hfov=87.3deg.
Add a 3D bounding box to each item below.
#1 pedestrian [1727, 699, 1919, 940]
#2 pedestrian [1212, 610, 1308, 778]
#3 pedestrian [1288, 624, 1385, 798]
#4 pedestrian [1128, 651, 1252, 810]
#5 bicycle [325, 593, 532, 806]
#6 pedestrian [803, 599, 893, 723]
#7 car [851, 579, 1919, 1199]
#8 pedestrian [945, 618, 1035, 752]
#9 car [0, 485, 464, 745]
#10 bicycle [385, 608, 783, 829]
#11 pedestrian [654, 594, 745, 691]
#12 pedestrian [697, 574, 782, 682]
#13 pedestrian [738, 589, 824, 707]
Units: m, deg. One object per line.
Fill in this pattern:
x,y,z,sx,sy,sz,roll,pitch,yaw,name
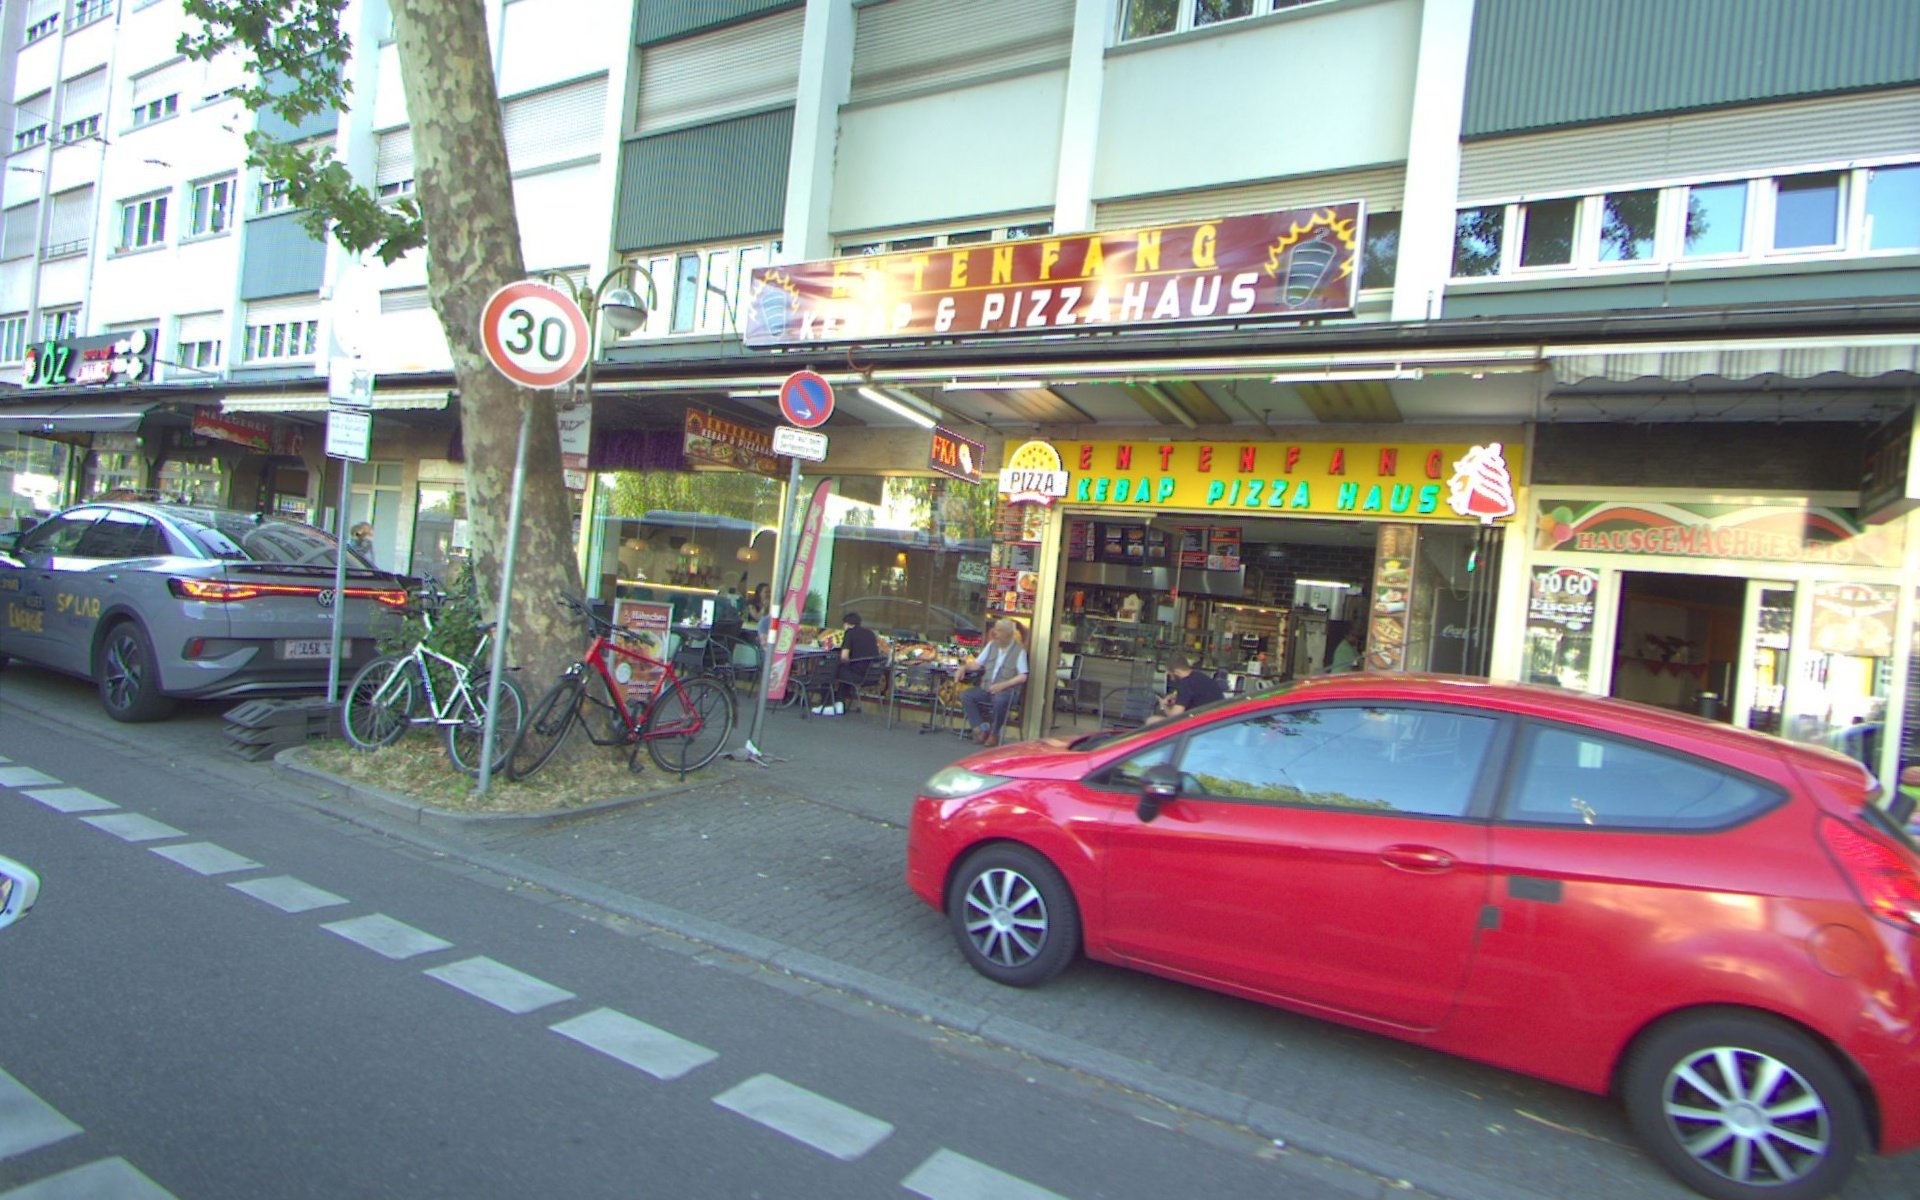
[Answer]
5.900,1.409,6.760,0.937,1.352,1.069,6,0,31,pedestrian
3.024,0.935,10.108,0.589,1.566,0.700,6,0,34,pedestrian
3.652,1.058,9.740,0.589,1.560,0.700,6,0,34,pedestrian
2.010,1.100,8.769,0.798,1.225,0.654,7,2,28,pedestrian
-3.529,0.610,6.639,1.422,1.169,0.553,6,0,36,bicycle
-1.236,0.659,11.099,0.679,1.261,0.558,7,2,33,pedestrian
1.643,0.899,4.303,3.757,1.617,1.782,6,3,28,car
0.312,0.848,10.223,0.550,1.252,0.689,7,2,29,pedestrian
-6.626,-0.001,8.666,4.292,1.603,1.996,7,2,27,car
-2.308,0.658,6.497,0.547,1.171,2.377,6,4,44,bicycle
-3.260,0.520,12.639,0.940,1.094,0.639,6,0,-9,pedestrian
-3.034,0.378,13.943,0.958,1.350,0.830,6,0,-9,pedestrian
-2.069,0.549,11.623,0.680,1.261,0.557,7,2,38,pedestrian
